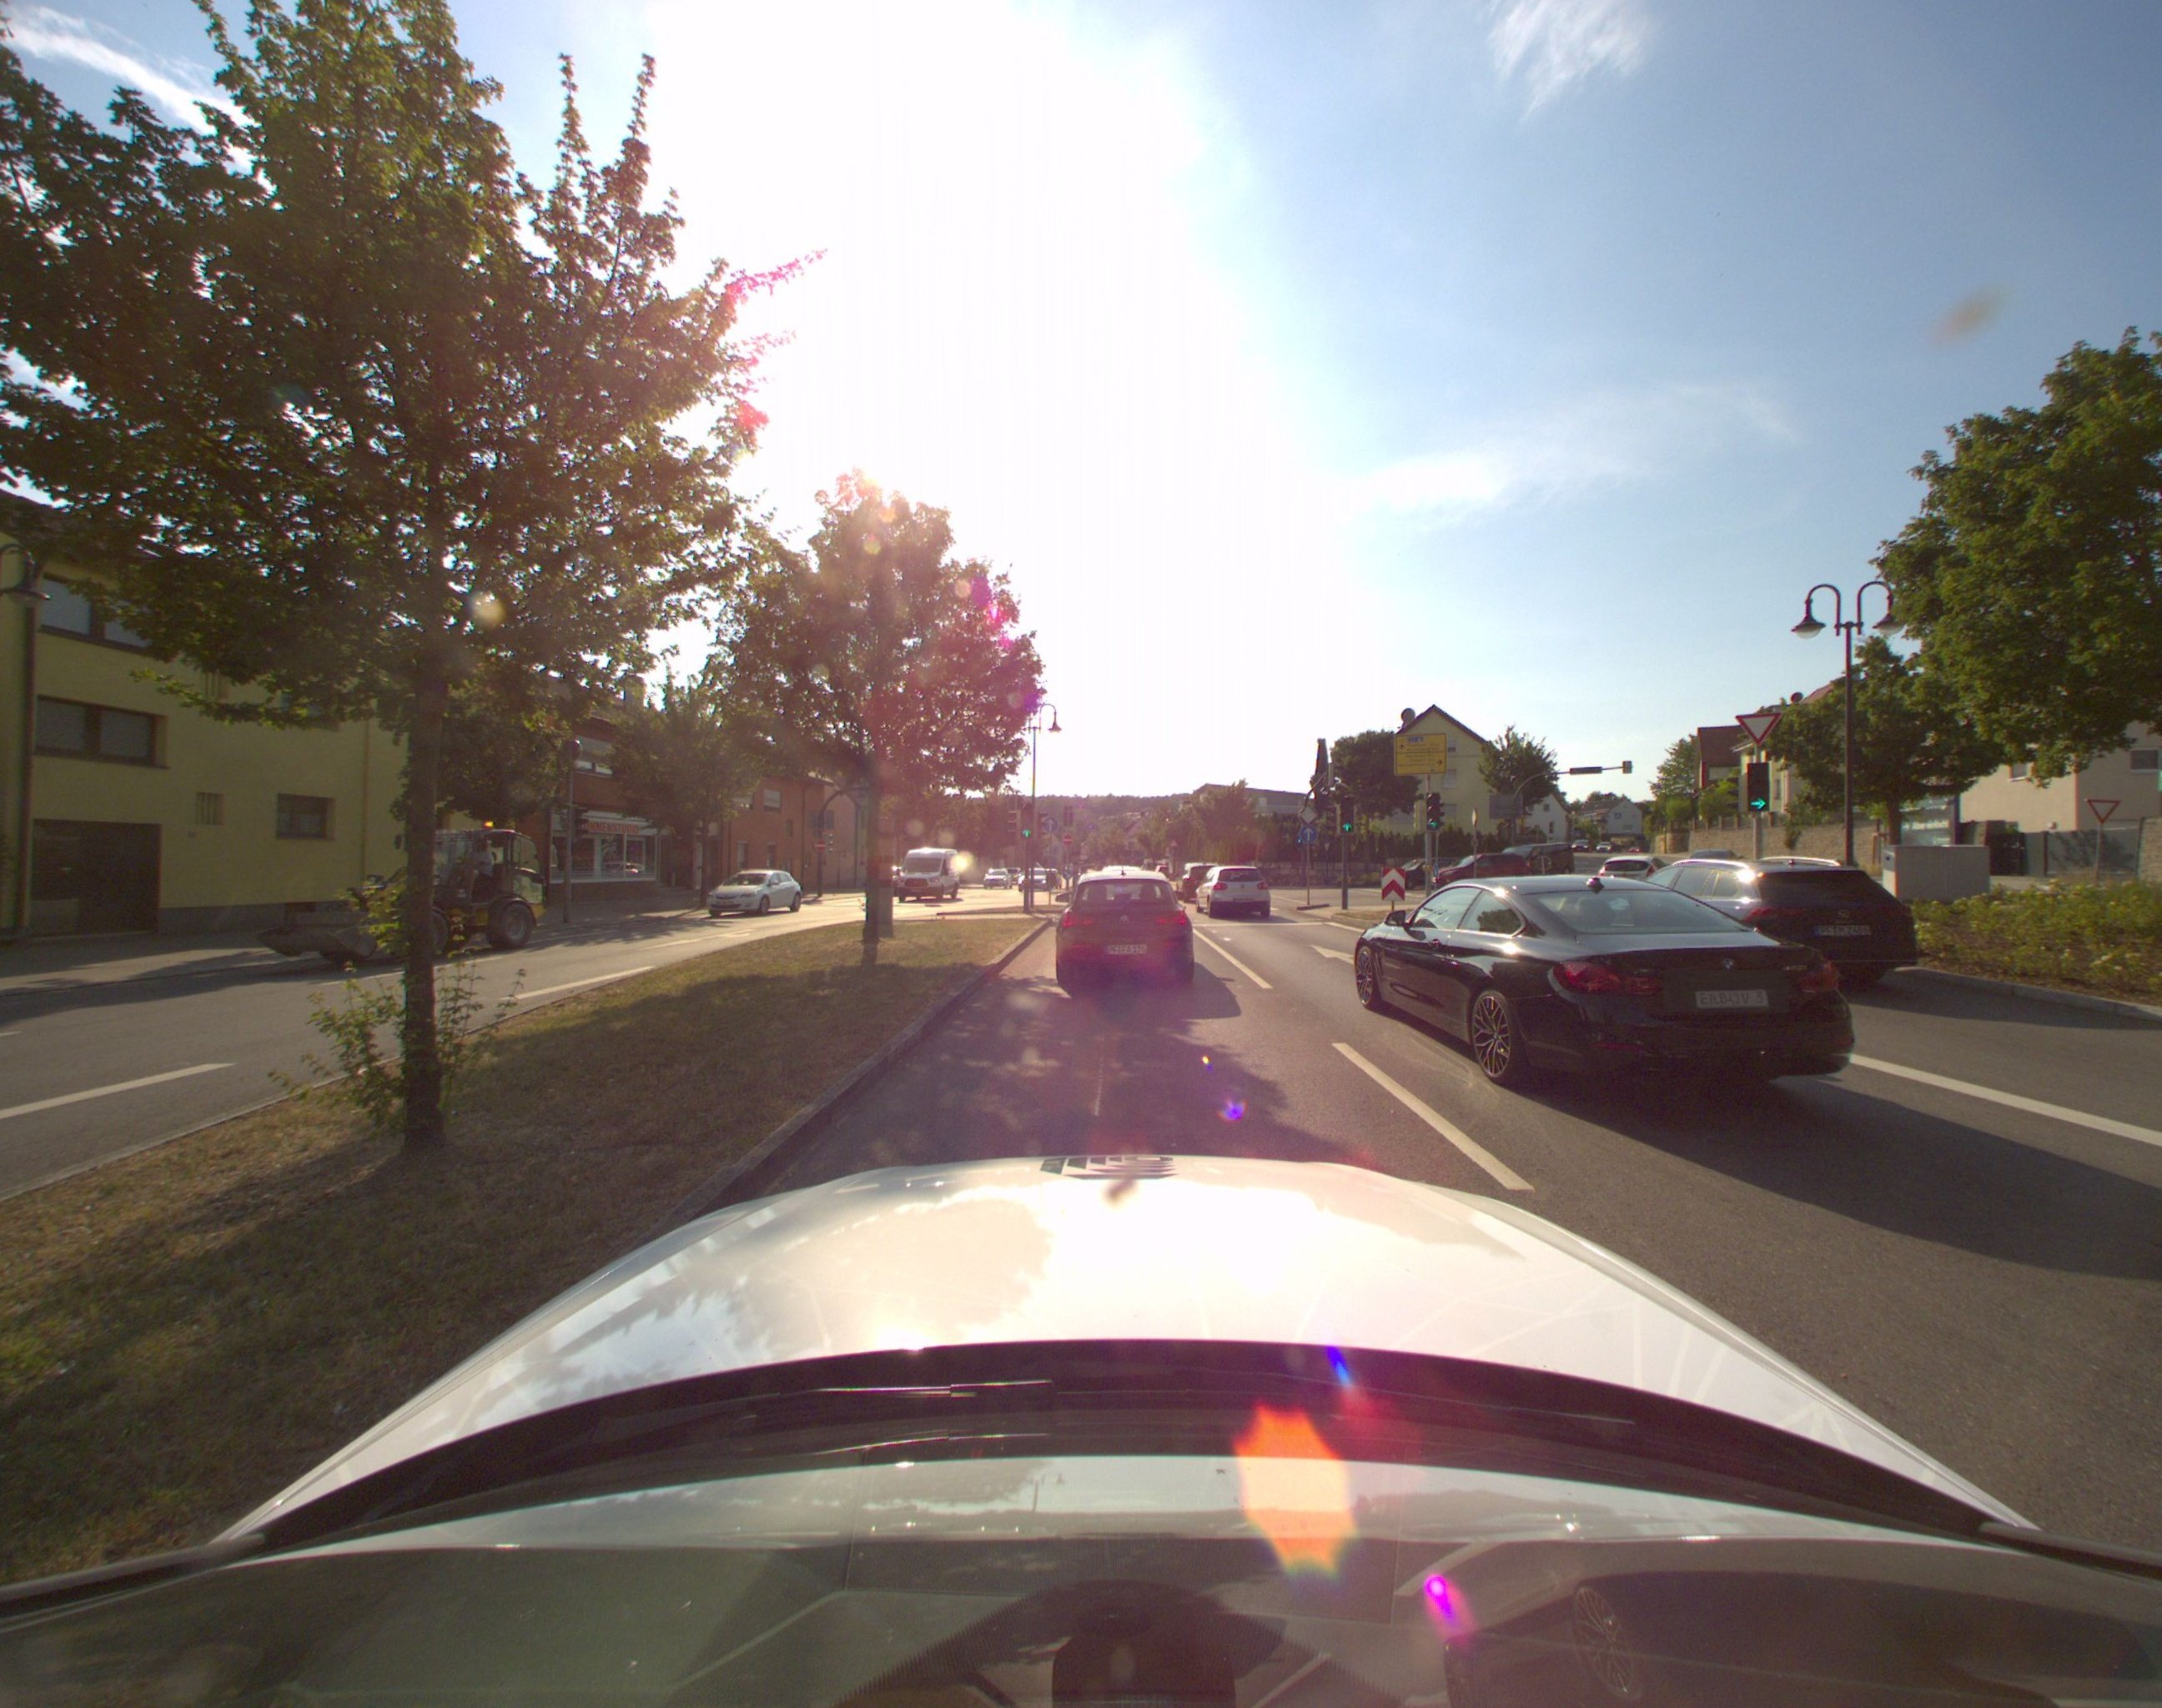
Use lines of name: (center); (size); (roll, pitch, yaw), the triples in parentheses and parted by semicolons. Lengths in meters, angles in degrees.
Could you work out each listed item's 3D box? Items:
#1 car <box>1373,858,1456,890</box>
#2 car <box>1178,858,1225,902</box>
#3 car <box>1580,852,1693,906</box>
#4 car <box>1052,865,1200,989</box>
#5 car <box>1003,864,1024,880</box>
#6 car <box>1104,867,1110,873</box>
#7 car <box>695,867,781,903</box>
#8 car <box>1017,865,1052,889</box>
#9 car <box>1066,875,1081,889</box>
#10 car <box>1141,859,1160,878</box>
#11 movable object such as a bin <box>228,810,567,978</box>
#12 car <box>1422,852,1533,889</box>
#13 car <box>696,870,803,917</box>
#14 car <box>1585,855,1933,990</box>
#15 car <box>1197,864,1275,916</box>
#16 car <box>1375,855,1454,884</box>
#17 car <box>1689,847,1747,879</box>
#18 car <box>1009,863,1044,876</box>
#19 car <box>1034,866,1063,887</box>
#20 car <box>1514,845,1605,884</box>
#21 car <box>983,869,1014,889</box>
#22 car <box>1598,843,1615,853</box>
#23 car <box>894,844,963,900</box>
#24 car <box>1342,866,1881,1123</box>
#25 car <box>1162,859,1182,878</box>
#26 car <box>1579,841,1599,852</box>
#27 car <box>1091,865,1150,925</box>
car: (16.648, 0.961, 40.787); (3.754, 1.542, 1.606); (0, -1, 20)
car: (4.988, 1.050, 33.979); (1.596, 1.767, 3.413); (0, -1, 3)
car: (16.934, 0.711, 24.778); (4.021, 1.494, 1.846); (0, -1, -41)
car: (0.589, 0.890, 11.473); (1.765, 1.456, 3.517); (0, -1, 2)
car: (-7.304, 1.944, 88.648); (1.679, 1.612, 4.415); (0, -1, 2)
car: (6.822, 4.285, 214.581); (1.592, 1.485, 3.473); (0, -1, -1)
car: (-14.551, 1.267, 34.747); (1.788, 1.414, 3.944); (0, 0, 3)
car: (-2.933, 1.447, 52.734); (1.828, 1.488, 4.568); (0, -1, 2)
car: (-0.851, 3.231, 93.773); (1.526, 1.462, 3.509); (0, -1, 3)
car: (10.186, 2.150, 119.551); (2.143, 2.681, 6.600); (0, -1, -1)
movable object such as a bin: (-11.646, 0.606, 14.480); (1.546, 2.462, 4.983); (0, -1, 4)
car: (18.212, 0.739, 37.526); (4.230, 1.626, 1.859); (0, -1, -4)
car: (-11.042, 1.272, 27.479); (1.684, 1.414, 4.217); (0, -1, 3)
car: (8.504, 0.745, 10.788); (1.619, 1.410, 4.290); (-1, -1, 10)
car: (4.520, 1.014, 24.176); (1.747, 1.414, 3.423); (0, -1, 2)
car: (18.252, 0.874, 44.665); (3.589, 1.450, 1.625); (-2, -2, -2)
car: (27.591, 0.386, 35.362); (1.794, 1.344, 4.025); (-1, -1, 36)
car: (-10.062, 2.853, 150.144); (6.138, 2.445, 2.249); (0, -1, 0)
car: (-2.291, 1.617, 58.196); (1.582, 1.427, 3.582); (-1, -1, 5)
car: (25.192, 0.519, 42.832); (5.197, 1.932, 1.980); (0, -1, -32)
car: (-6.090, 1.842, 60.625); (1.750, 1.411, 4.001); (0, -1, 2)
car: (76.301, -0.809, 118.196); (1.794, 1.344, 4.025); (-1, -1, 36)
car: (-7.199, 0.841, 38.999); (2.076, 2.476, 5.481); (0, -1, 2)
car: (3.630, 0.814, 6.664); (1.693, 1.369, 4.263); (-1, -1, 1)
car: (13.371, 2.145, 119.971); (2.105, 2.722, 6.439); (0, -1, -1)
car: (61.781, -0.894, 99.030); (1.794, 1.344, 4.025); (-1, -1, 36)
car: (1.118, 1.123, 23.795); (1.586, 1.600, 3.894); (0, -1, 2)
